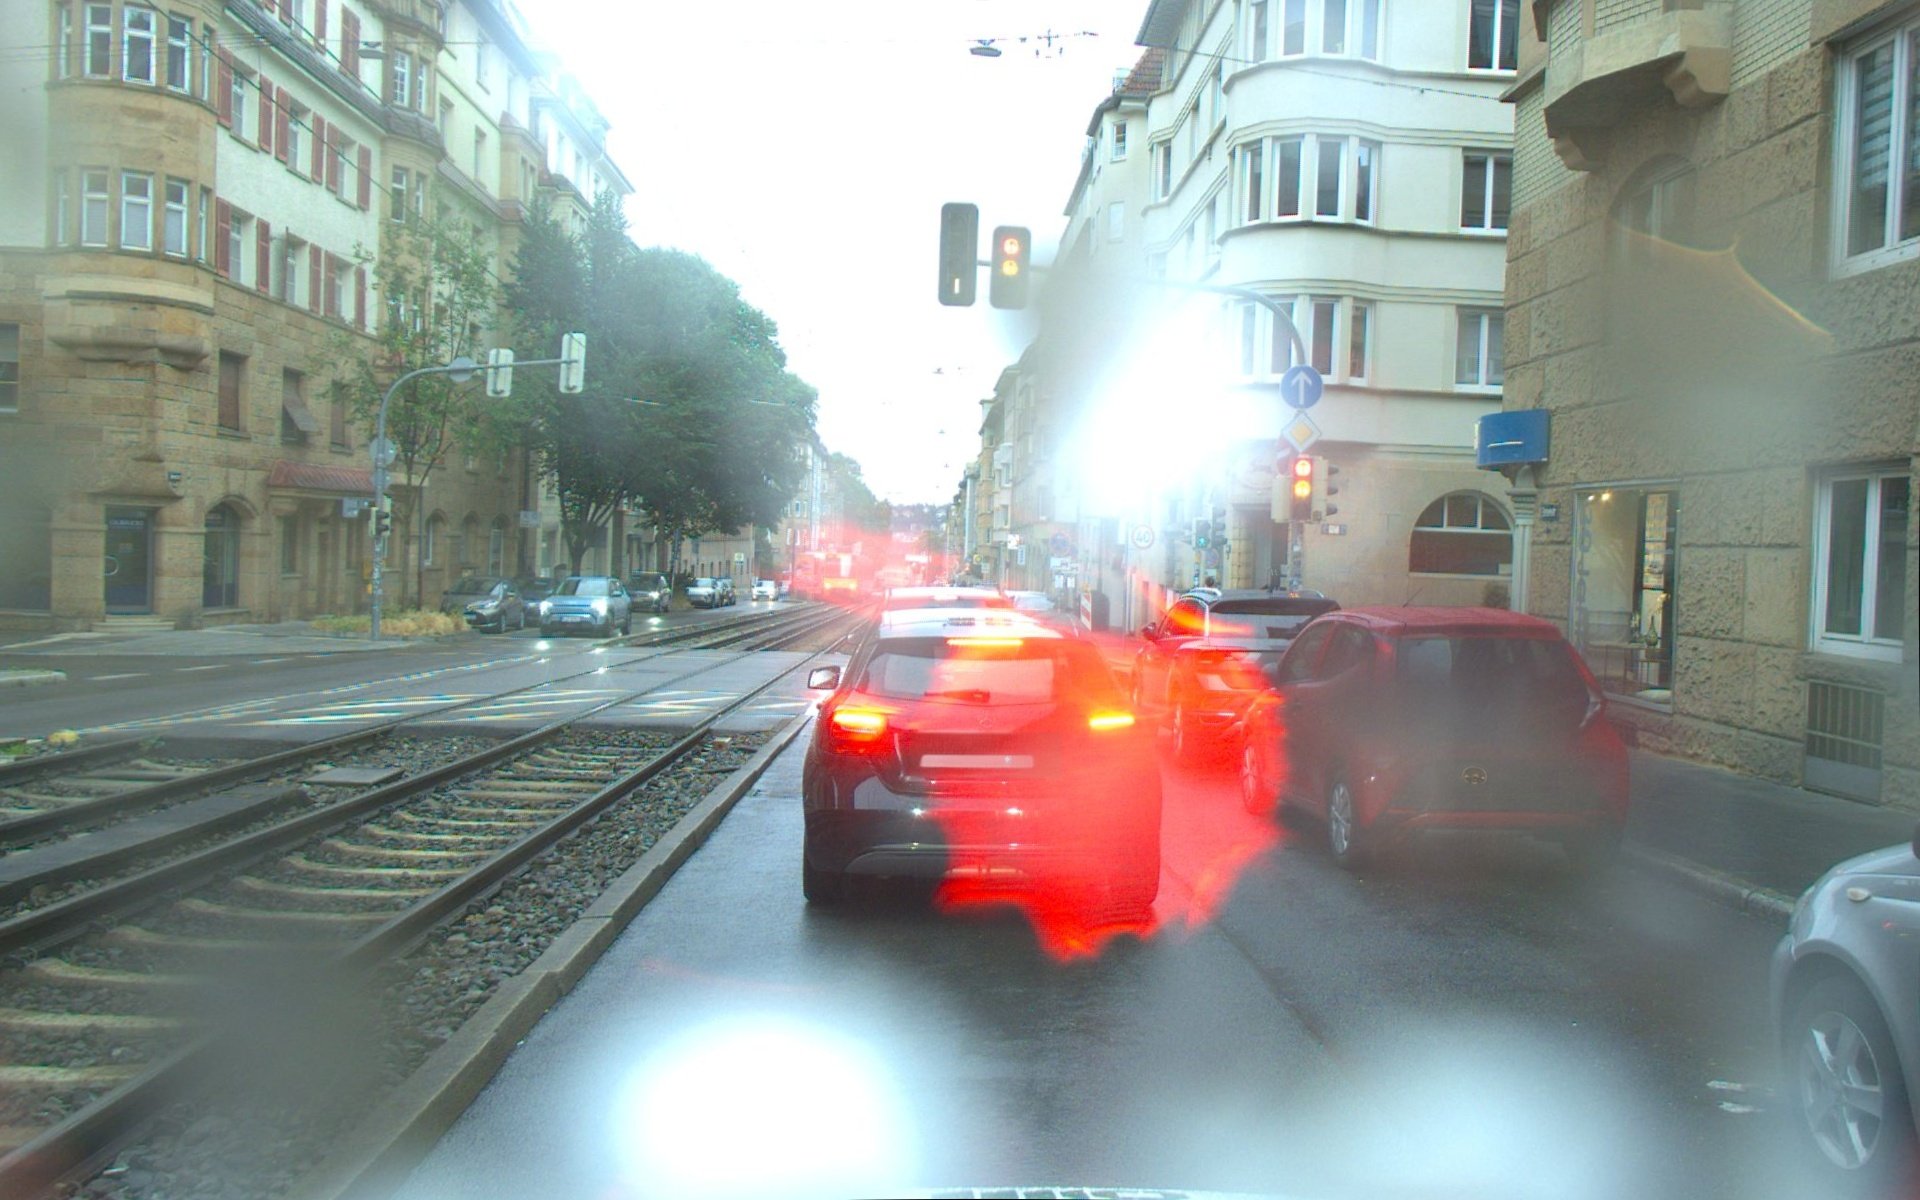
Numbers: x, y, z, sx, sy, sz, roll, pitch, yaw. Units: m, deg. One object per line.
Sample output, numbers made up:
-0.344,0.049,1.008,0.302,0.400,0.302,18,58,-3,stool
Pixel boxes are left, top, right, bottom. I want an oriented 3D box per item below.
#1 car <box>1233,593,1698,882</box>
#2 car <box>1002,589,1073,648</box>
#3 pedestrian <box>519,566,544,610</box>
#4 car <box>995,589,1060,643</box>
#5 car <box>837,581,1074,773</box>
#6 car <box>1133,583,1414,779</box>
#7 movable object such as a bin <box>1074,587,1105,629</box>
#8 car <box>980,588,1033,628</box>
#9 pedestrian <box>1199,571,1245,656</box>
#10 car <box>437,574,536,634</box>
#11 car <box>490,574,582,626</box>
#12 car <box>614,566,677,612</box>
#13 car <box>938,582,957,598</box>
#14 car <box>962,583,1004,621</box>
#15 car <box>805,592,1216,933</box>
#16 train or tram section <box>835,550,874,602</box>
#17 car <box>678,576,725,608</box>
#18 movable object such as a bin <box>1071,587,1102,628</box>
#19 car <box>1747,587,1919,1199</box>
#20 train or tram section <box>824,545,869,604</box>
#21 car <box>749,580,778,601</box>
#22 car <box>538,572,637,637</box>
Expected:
2.977,0.726,10.523,1.672,1.478,3.530,2,0,-3,car
2.004,0.470,43.621,1.675,1.435,4.817,1,0,1,car
-16.601,-0.463,64.112,0.713,1.692,0.770,2,0,-2,pedestrian
1.952,0.448,48.988,1.677,1.493,4.773,1,0,-1,car
-0.065,0.645,16.096,1.953,1.552,4.245,2,0,-1,car
2.829,0.667,15.794,1.830,1.576,3.990,2,0,-1,car
4.694,0.278,59.891,0.960,1.494,1.272,1,0,-2,movable object such as a bin
1.720,0.311,61.939,1.753,1.410,4.394,1,0,-1,car
5.411,0.282,34.160,0.788,1.717,0.754,1,-1,-2,pedestrian
-12.947,0.105,45.470,1.656,1.556,4.173,1,0,-3,car
-13.009,0.007,51.025,1.745,1.485,4.976,1,0,-3,car
-13.627,-0.499,71.914,1.914,1.772,4.777,4,1,-3,car
-1.235,-0.983,165.544,1.848,1.552,4.246,2,0,1,car
1.047,0.113,74.475,1.803,1.636,4.761,1,0,1,car
0.199,0.716,9.288,1.797,1.478,3.901,1,0,-1,car
-8.984,-2.024,142.124,2.690,4.132,15.656,1,1,-2,train or tram section
-13.918,-0.446,89.229,1.922,1.633,4.327,2,1,-2,car
4.690,0.284,61.387,0.997,1.494,1.322,1,0,-2,movable object such as a bin
3.094,0.738,3.065,1.562,1.513,3.521,0,0,-1,car
-8.512,-1.932,125.943,2.690,4.132,17.208,1,1,-2,train or tram section
-14.416,-0.693,121.553,1.745,1.529,4.060,1,0,-3,car
-10.033,0.116,44.836,1.883,1.646,4.126,1,0,-3,car
